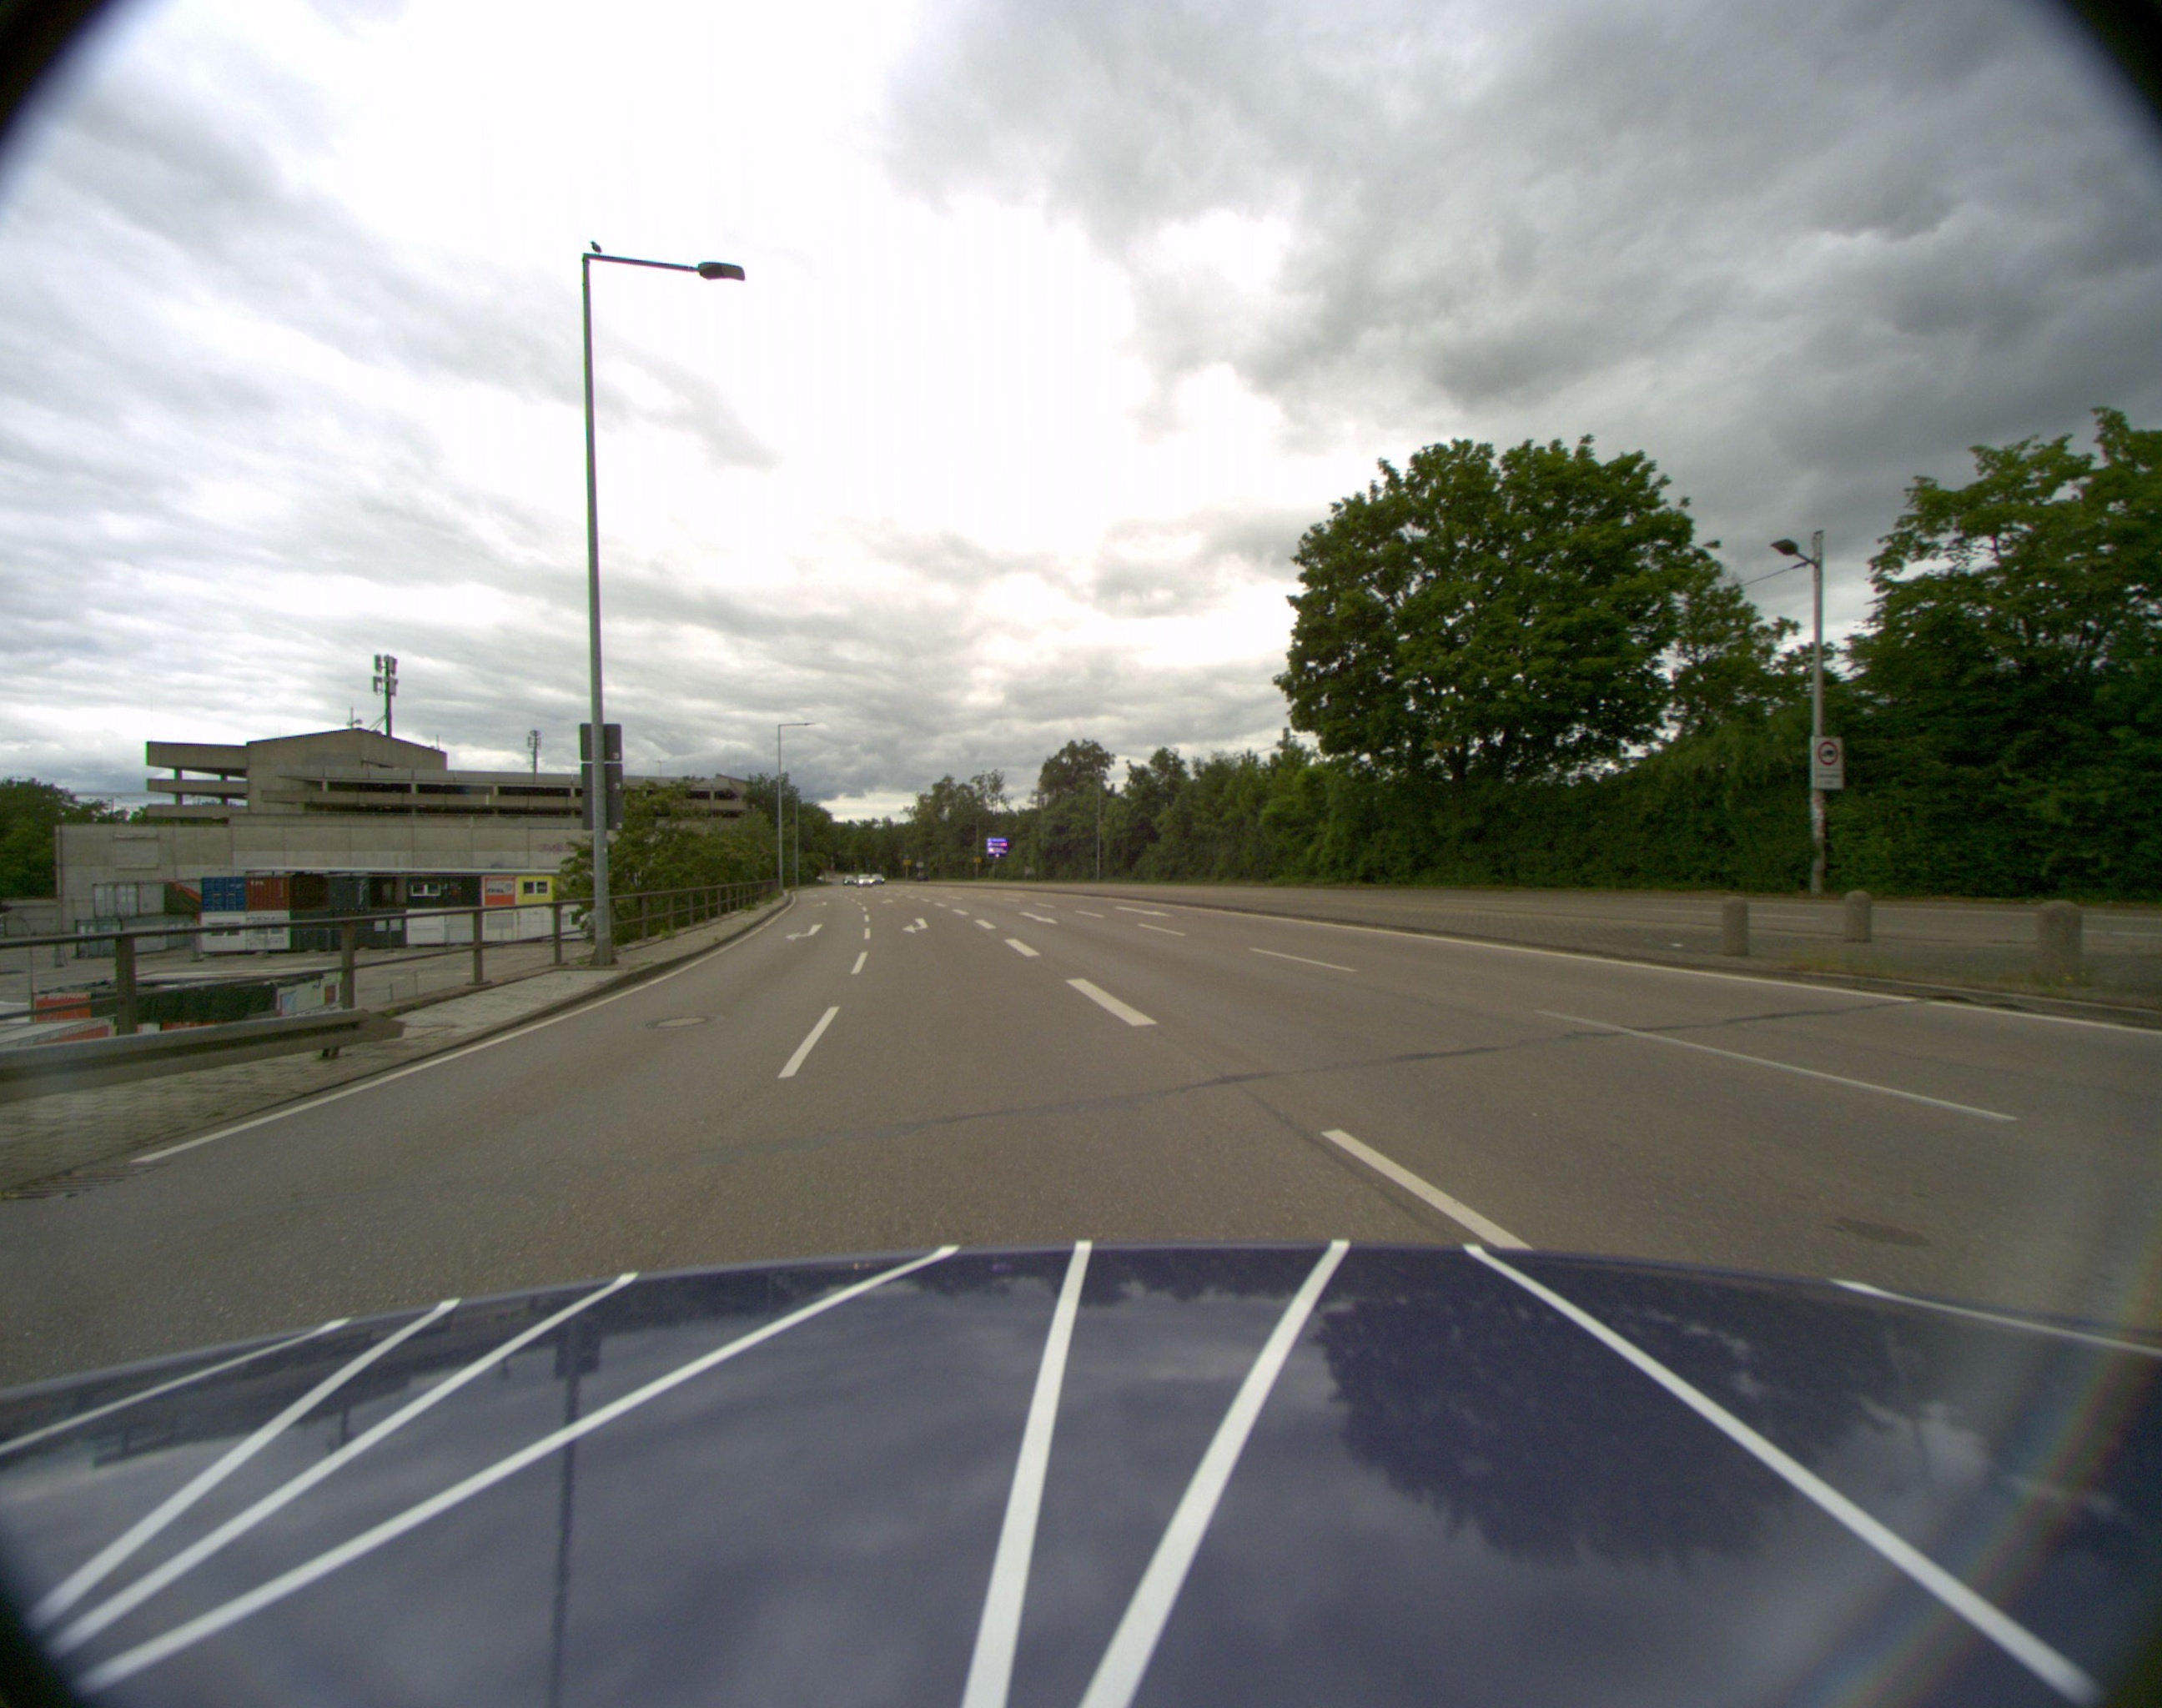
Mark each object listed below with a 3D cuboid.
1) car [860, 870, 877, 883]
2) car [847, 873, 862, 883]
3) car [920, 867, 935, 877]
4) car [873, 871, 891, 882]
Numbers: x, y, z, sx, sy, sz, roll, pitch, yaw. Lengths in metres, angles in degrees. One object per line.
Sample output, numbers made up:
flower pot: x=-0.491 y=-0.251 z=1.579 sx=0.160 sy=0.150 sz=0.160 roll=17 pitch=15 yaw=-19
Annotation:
car: x=-24.704 y=2.570 z=88.440 sx=1.612 sy=1.408 sz=3.585 roll=-2 pitch=0 yaw=-20
car: x=-33.592 y=3.586 z=112.648 sx=1.867 sy=1.408 sz=4.332 roll=-2 pitch=0 yaw=-18
car: x=-24.337 y=2.787 z=120.310 sx=1.706 sy=1.455 sz=3.993 roll=-3 pitch=0 yaw=-20
car: x=-27.521 y=3.082 z=105.084 sx=1.845 sy=1.408 sz=4.572 roll=-2 pitch=0 yaw=-21
